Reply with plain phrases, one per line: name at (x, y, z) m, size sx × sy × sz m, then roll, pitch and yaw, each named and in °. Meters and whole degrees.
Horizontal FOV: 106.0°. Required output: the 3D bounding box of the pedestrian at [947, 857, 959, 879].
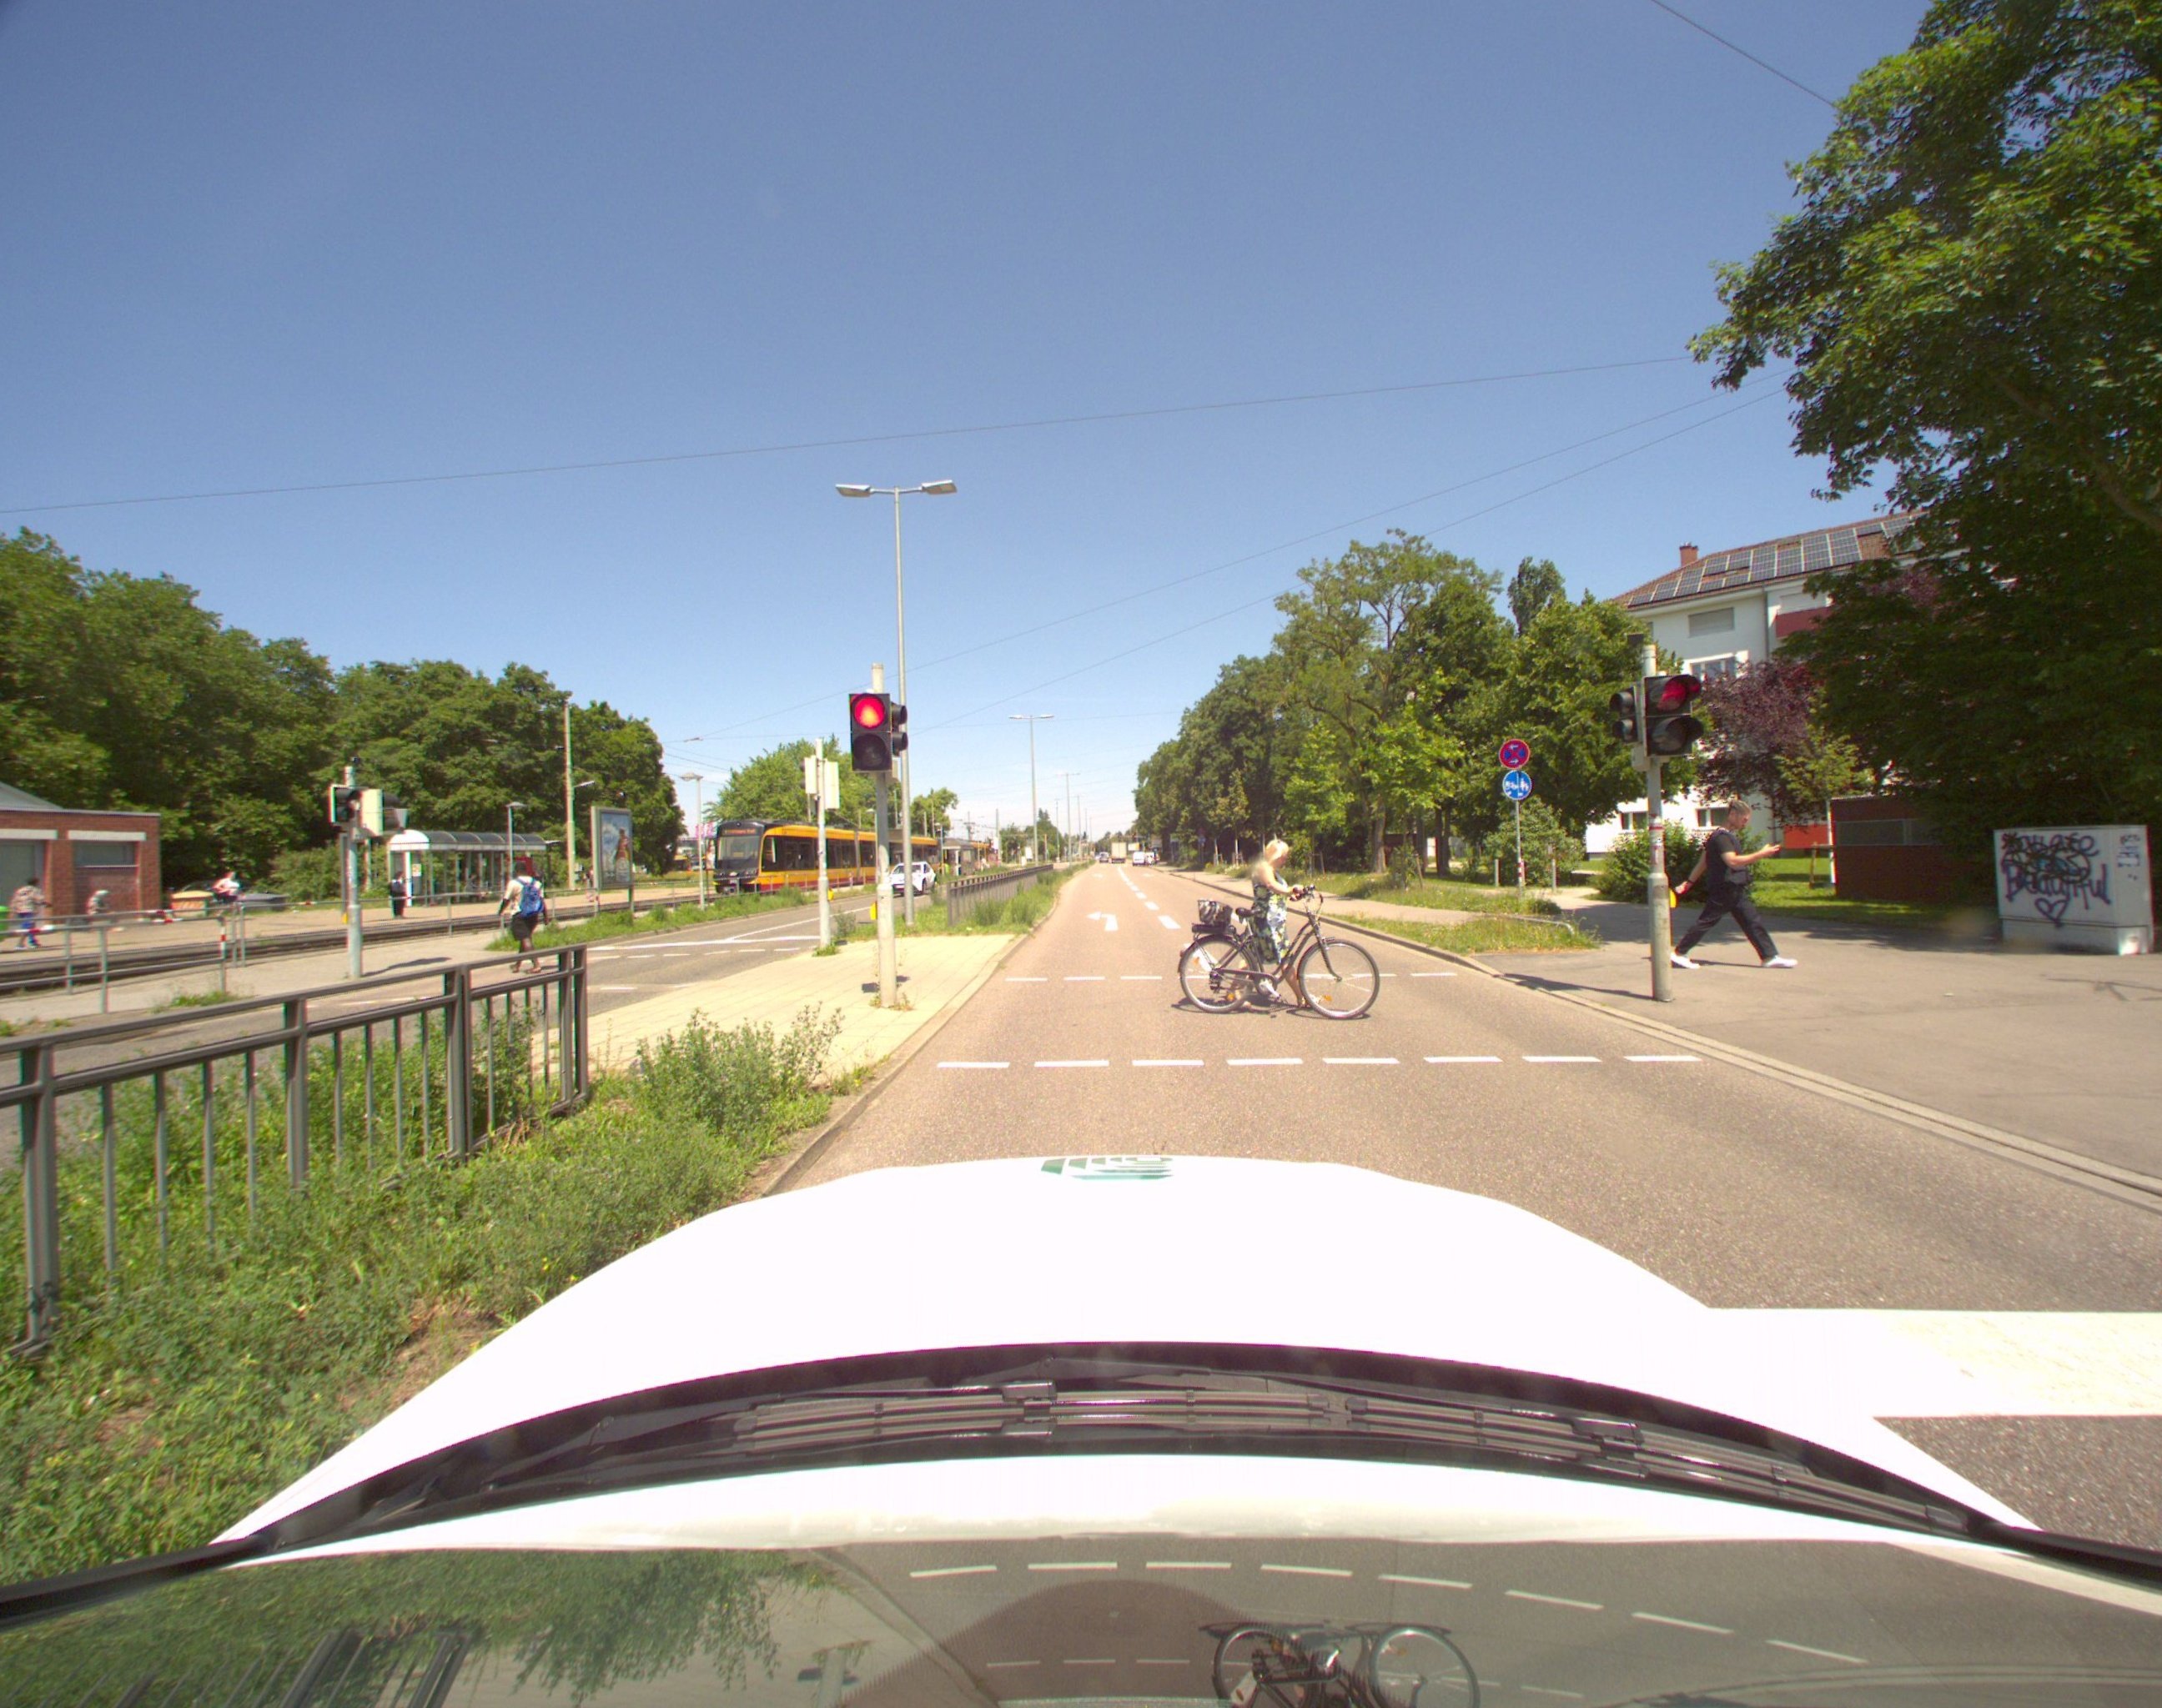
pedestrian at (-10.977, 1.199, 69.729) m, size 0.783 × 1.868 × 0.818 m, roll -2°, pitch 0°, yaw 1°

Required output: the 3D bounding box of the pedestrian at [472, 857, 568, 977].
pedestrian at (-8.987, 0.988, 13.073) m, size 0.837 × 1.777 × 0.720 m, roll -5°, pitch 2°, yaw 1°

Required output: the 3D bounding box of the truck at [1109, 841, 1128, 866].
truck at (6.777, -0.086, 146.193) m, size 3.193 × 4.359 × 6.563 m, roll -2°, pitch 0°, yaw 2°

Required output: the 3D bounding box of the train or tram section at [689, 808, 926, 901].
train or tram section at (-14.107, 0.024, 48.476) m, size 2.946 × 3.749 × 30.044 m, roll -2°, pitch 0°, yaw 2°

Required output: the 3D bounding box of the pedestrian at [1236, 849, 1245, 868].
pedestrian at (12.238, 0.319, 62.545) m, size 0.600 × 1.438 × 0.557 m, roll -2°, pitch 0°, yaw 8°

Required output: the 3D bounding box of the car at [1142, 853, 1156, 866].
car at (9.387, 0.715, 112.422) m, size 1.773 × 1.668 × 4.002 m, roll -2°, pitch 0°, yaw 2°

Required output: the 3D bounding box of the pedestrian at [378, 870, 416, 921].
pedestrian at (-21.538, 1.291, 25.663) m, size 0.635 × 1.555 × 0.691 m, roll -2°, pitch 0°, yaw -11°

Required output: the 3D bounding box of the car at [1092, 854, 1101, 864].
car at (3.326, 1.092, 175.333) m, size 1.986 × 2.013 × 4.002 m, roll -2°, pitch 0°, yaw 2°

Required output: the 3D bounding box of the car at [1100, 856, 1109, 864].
car at (4.548, 1.191, 158.142) m, size 1.804 × 1.464 × 4.002 m, roll -2°, pitch 0°, yaw 2°

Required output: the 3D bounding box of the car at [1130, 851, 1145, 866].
car at (7.299, 0.559, 105.540) m, size 1.773 × 1.903 × 4.002 m, roll -2°, pitch 0°, yaw 2°

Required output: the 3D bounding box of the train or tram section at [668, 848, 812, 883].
train or tram section at (-44.188, 1.515, 105.497) m, size 18.318 × 3.931 × 3.236 m, roll -2°, pitch 0°, yaw 11°

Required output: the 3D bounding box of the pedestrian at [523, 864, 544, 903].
pedestrian at (-26.054, 1.390, 38.754) m, size 0.725 × 1.800 × 0.835 m, roll -1°, pitch 0°, yaw -41°

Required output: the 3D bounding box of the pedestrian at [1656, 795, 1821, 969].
pedestrian at (7.161, 0.311, 8.952) m, size 1.173 × 1.778 × 0.845 m, roll -4°, pitch -2°, yaw 27°

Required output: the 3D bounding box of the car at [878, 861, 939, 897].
car at (-7.786, 1.092, 37.096) m, size 1.838 × 1.494 × 3.793 m, roll -2°, pitch 0°, yaw 2°

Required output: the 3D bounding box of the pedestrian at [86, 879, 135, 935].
pedestrian at (-26.675, 1.438, 22.383) m, size 0.636 × 1.480 × 0.570 m, roll -2°, pitch 0°, yaw 1°

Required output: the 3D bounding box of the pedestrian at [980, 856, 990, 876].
pedestrian at (-9.908, 1.238, 84.066) m, size 0.812 × 2.013 × 0.939 m, roll -2°, pitch 0°, yaw 1°

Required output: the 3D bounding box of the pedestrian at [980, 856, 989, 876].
pedestrian at (-10.128, 1.250, 85.366) m, size 0.812 × 2.013 × 0.939 m, roll -2°, pitch 0°, yaw 1°

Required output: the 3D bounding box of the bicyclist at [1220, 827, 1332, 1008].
bicyclist at (1.906, 0.591, 7.925) m, size 0.949 × 1.667 × 0.583 m, roll -2°, pitch 0°, yaw 19°

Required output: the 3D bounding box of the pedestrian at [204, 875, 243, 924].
pedestrian at (-26.278, 1.386, 24.953) m, size 0.633 × 1.456 × 0.586 m, roll -2°, pitch 0°, yaw 20°

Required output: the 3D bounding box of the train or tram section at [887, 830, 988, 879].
train or tram section at (-13.084, 0.039, 80.026) m, size 2.920 × 3.789 × 33.100 m, roll -2°, pitch 0°, yaw 2°

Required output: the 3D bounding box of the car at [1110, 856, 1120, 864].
car at (6.487, 1.140, 153.689) m, size 1.804 × 1.464 × 4.002 m, roll -2°, pitch 0°, yaw 2°

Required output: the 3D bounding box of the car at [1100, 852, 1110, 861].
car at (4.885, 0.550, 163.583) m, size 1.986 × 1.816 × 4.001 m, roll 0°, pitch -1°, yaw 2°

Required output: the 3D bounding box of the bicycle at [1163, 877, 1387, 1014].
bicycle at (1.794, 0.826, 7.595) m, size 1.941 × 1.161 × 0.544 m, roll -2°, pitch 0°, yaw 19°

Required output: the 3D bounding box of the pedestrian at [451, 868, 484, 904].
pedestrian at (-26.280, 1.372, 34.896) m, size 0.836 × 1.511 × 0.723 m, roll -2°, pitch 0°, yaw 12°

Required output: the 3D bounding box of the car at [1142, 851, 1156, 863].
car at (9.909, 0.457, 118.762) m, size 1.773 × 1.668 × 4.002 m, roll -2°, pitch 0°, yaw 2°

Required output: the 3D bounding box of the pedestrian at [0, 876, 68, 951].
pedestrian at (-23.335, 1.314, 18.077) m, size 0.669 × 1.590 × 0.808 m, roll -2°, pitch 0°, yaw 1°

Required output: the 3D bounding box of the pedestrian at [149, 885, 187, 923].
pedestrian at (-28.562, 1.561, 25.480) m, size 0.634 × 1.124 × 0.572 m, roll -2°, pitch 0°, yaw 16°

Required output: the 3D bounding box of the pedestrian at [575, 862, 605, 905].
pedestrian at (-21.212, 1.250, 35.184) m, size 0.715 × 1.777 × 0.843 m, roll 3°, pitch 2°, yaw 1°
